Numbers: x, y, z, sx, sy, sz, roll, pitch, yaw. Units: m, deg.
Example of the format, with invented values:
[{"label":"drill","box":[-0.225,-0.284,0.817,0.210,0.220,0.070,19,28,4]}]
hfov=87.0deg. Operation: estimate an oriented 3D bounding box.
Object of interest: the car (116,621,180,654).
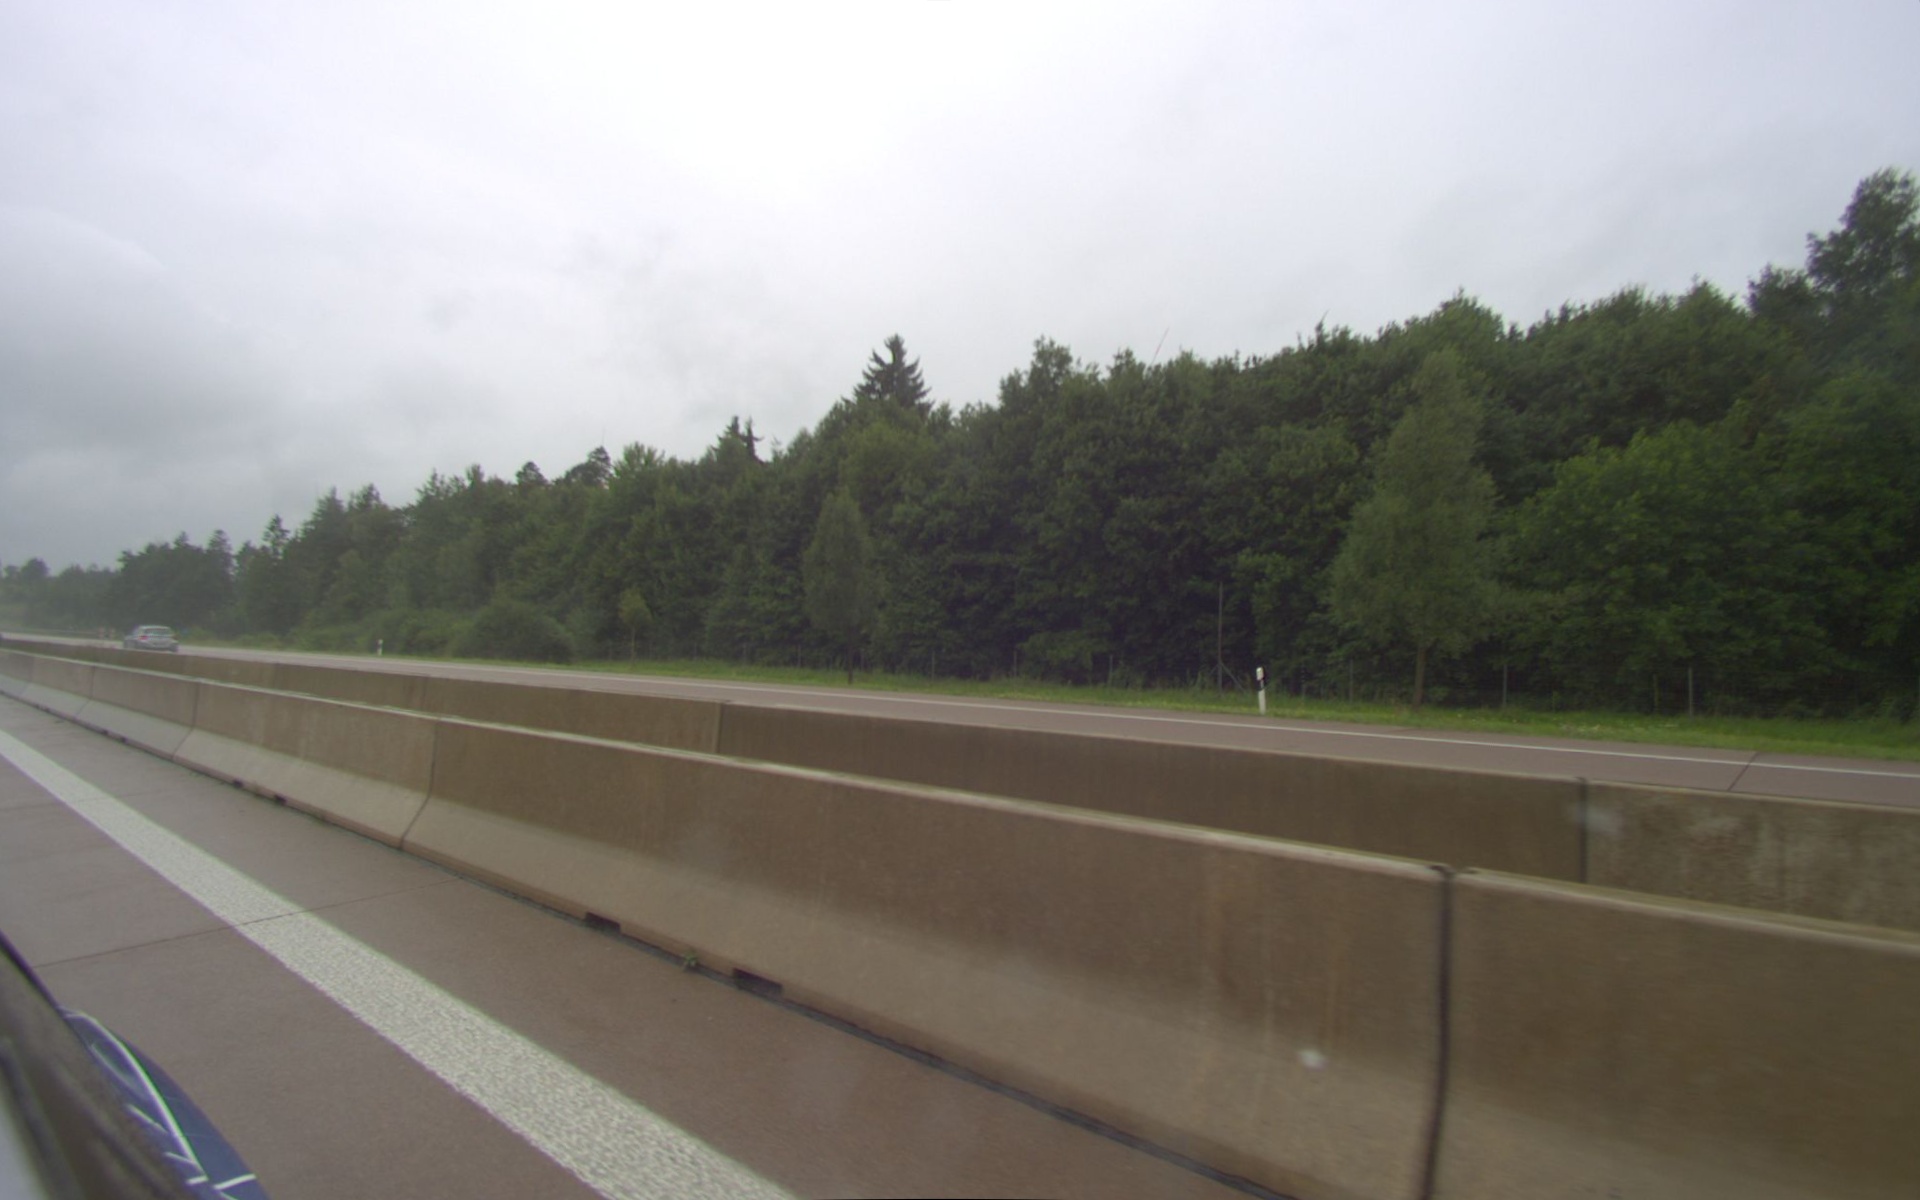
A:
[{"label":"car","box":[-42.365,1.962,52.792,4.503,1.644,1.789,-2,-3,41]}]
